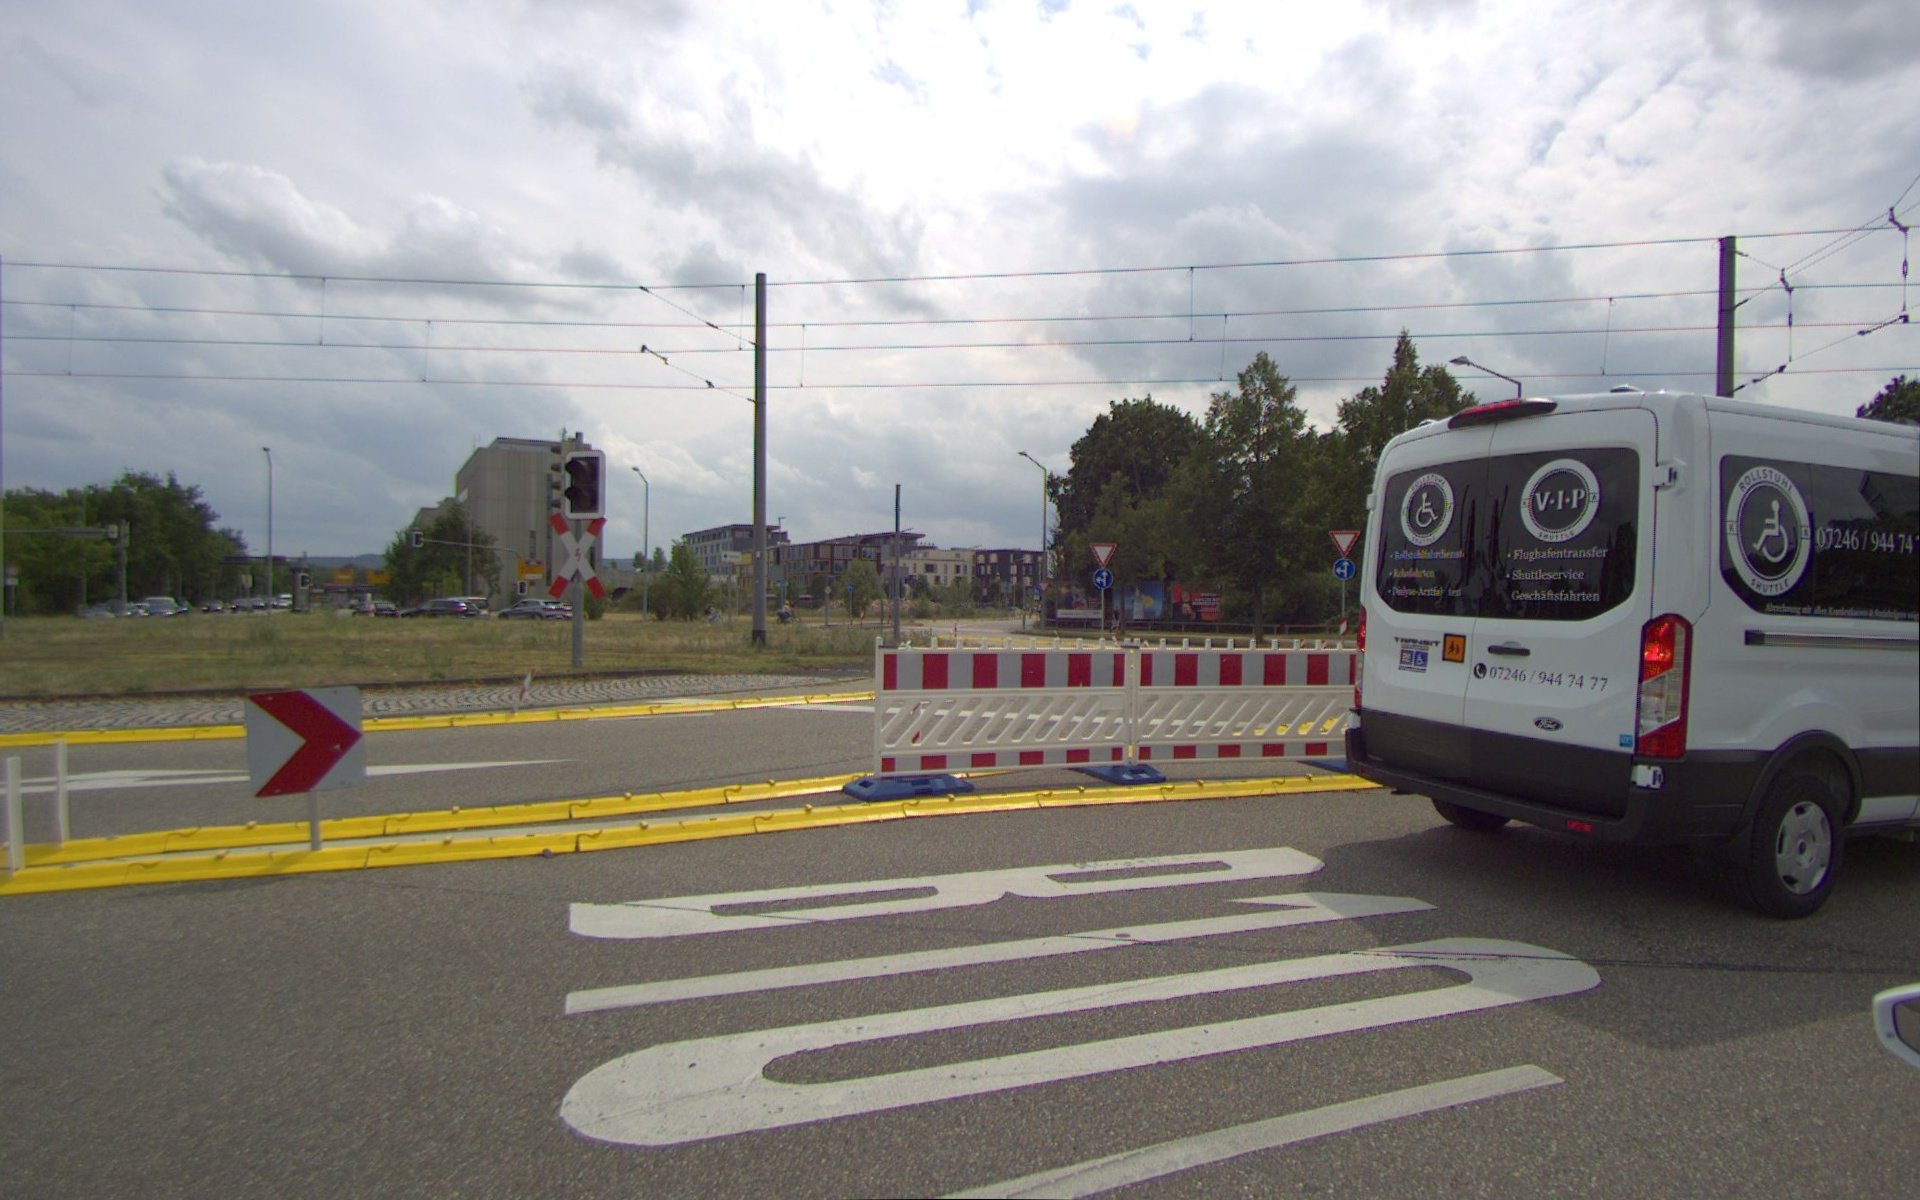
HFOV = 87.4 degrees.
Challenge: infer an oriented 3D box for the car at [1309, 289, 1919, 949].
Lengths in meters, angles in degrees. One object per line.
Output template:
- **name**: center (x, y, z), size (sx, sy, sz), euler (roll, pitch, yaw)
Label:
- **car**: center (5.100, 0.128, 6.232), size (5.551, 2.733, 2.122), euler (1, 0, -23)

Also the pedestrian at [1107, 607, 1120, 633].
- **pedestrian**: center (9.499, 1.239, 62.231), size (0.663, 1.615, 0.445), euler (1, 0, -29)

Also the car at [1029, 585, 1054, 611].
- **car**: center (6.826, -0.124, 84.590), size (1.960, 2.040, 4.002), euler (2, -1, 4)

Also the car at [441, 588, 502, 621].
- **car**: center (-31.611, 0.298, 64.954), size (4.298, 2.040, 1.990), euler (1, -1, 42)

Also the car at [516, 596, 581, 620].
- **car**: center (-26.739, 0.516, 65.275), size (3.927, 1.483, 1.831), euler (1, -2, 28)

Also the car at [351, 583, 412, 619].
- **car**: center (-34.878, 0.031, 60.542), size (3.942, 2.040, 1.990), euler (1, -2, 42)

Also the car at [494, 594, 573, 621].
- **car**: center (-25.335, 0.449, 59.699), size (3.919, 1.483, 1.834), euler (1, -1, 9)
